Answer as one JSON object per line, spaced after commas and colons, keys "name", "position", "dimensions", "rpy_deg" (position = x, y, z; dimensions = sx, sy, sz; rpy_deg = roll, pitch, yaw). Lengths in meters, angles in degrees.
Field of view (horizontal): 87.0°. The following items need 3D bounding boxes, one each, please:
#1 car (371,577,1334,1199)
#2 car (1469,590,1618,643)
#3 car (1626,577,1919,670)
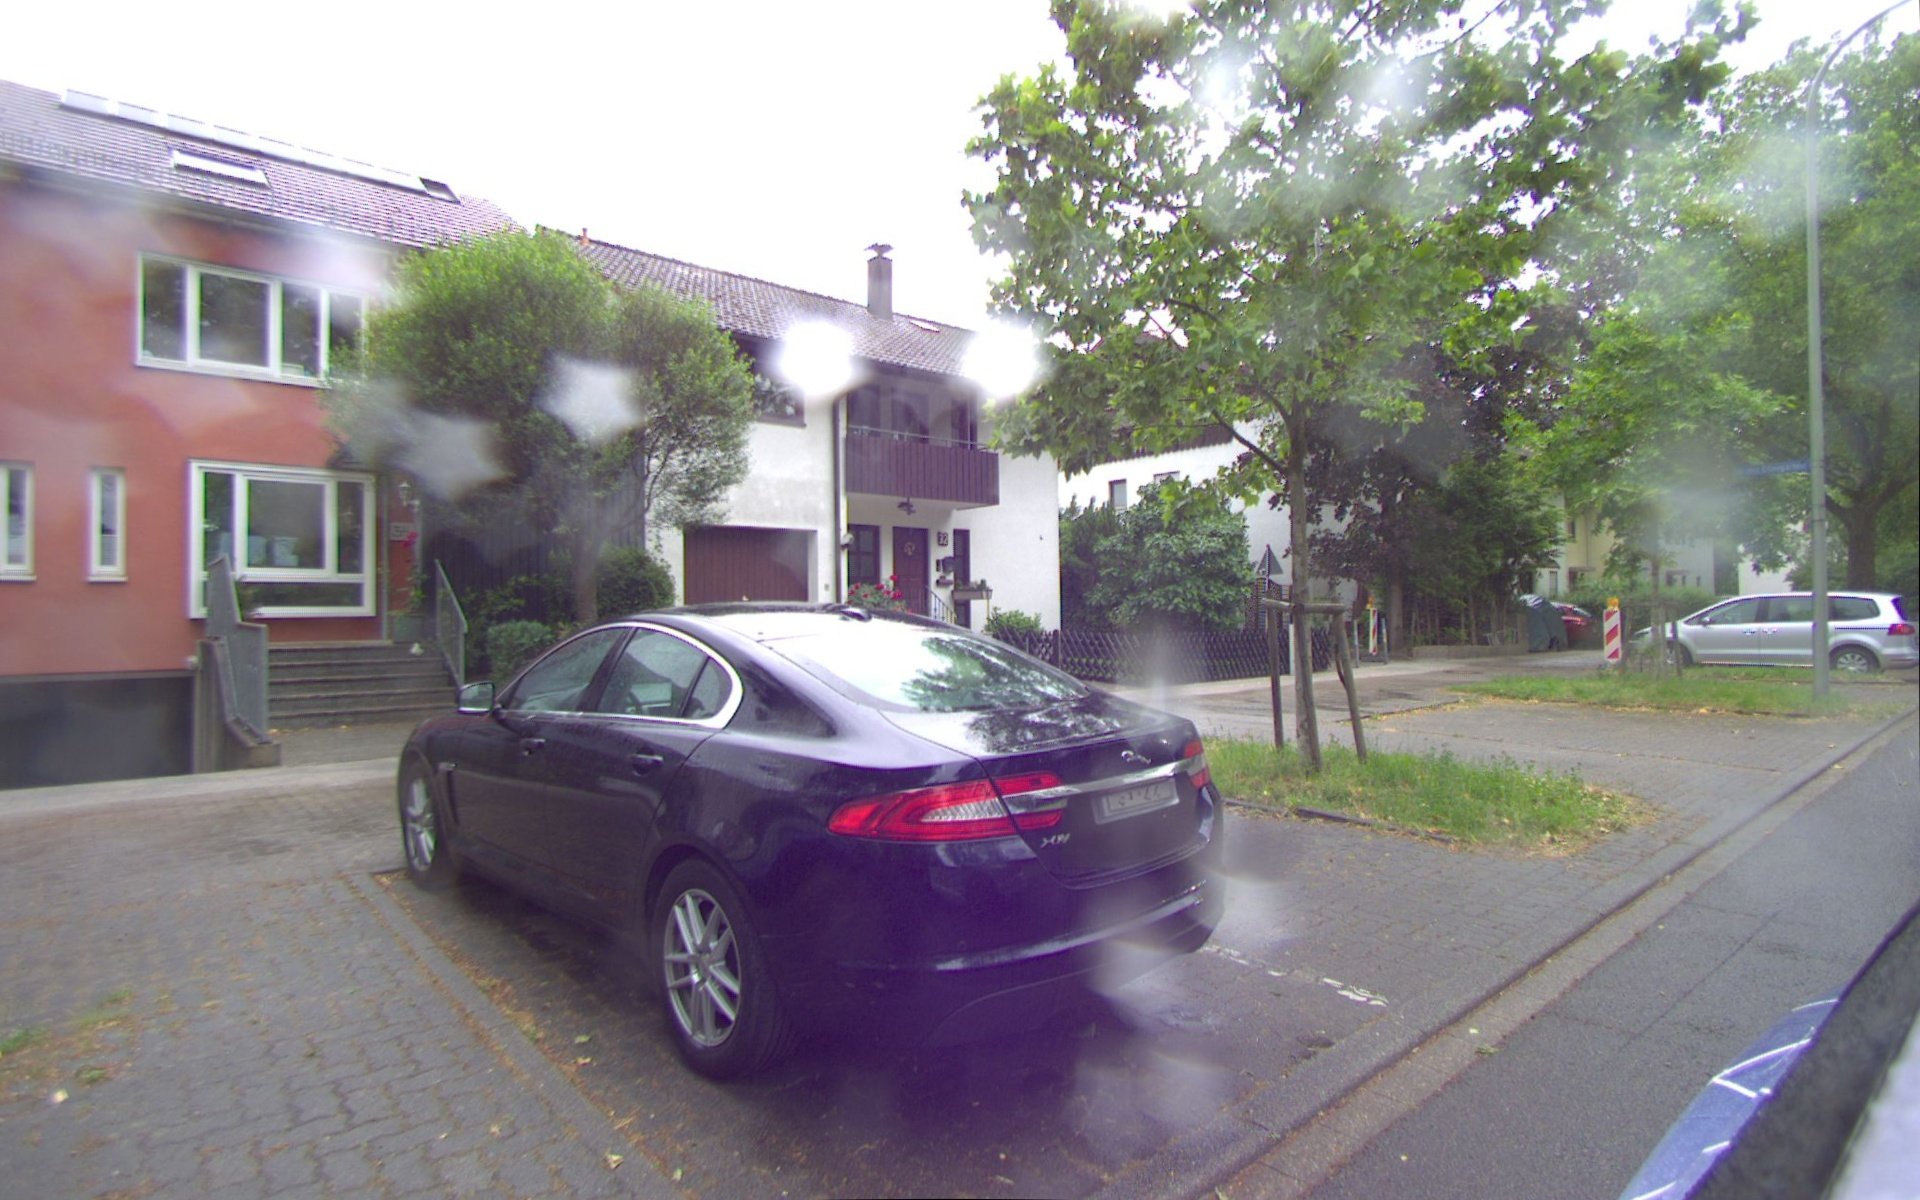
{"name": "car", "position": [-0.986, 0.690, 4.673], "dimensions": [1.906, 1.491, 4.769], "rpy_deg": [0, 0, -44]}
{"name": "car", "position": [19.035, 0.501, 33.149], "dimensions": [1.809, 1.633, 3.853], "rpy_deg": [0, 0, -39]}
{"name": "car", "position": [16.576, 0.424, 20.615], "dimensions": [1.942, 1.682, 4.694], "rpy_deg": [0, 0, -42]}
